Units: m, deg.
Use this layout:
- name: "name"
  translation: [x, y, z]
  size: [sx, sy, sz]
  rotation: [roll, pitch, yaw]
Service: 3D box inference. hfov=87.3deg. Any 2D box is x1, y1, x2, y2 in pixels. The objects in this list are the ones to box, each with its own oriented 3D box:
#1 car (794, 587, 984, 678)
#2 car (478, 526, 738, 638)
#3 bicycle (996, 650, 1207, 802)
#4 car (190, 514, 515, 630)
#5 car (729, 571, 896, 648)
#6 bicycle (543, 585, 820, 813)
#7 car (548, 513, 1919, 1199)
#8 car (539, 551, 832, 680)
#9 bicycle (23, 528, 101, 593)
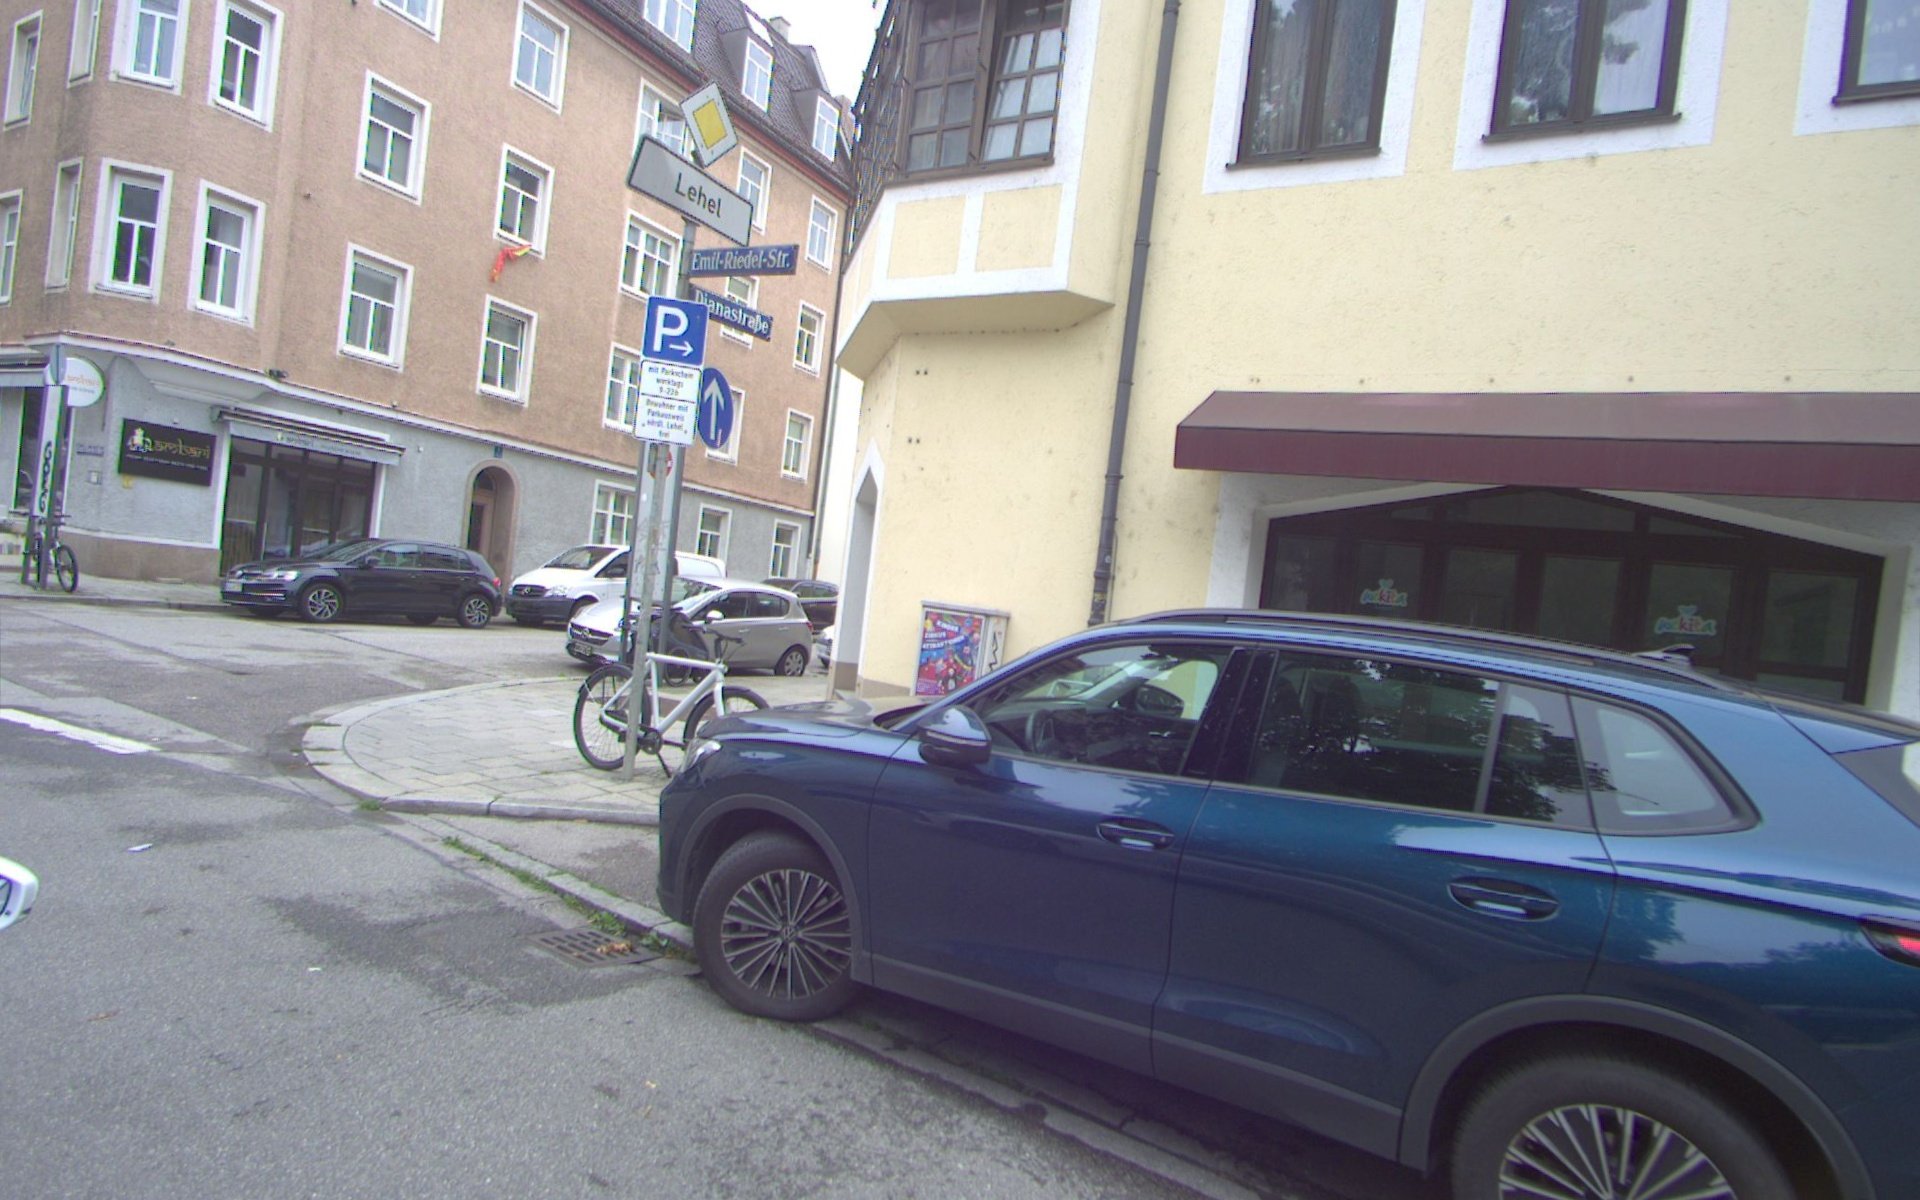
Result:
- name: "car"
  translation: [-1.306, 0.702, 19.930]
  size: [1.717, 1.394, 3.812]
  rotation: [9, 1, 32]
- name: "car"
  translation: [-7.422, -0.301, 21.860]
  size: [2.064, 1.876, 5.136]
  rotation: [5, -1, 29]
- name: "bicycle"
  translation: [1.152, 1.021, 8.414]
  size: [1.656, 0.989, 0.271]
  rotation: [7, 0, 30]
- name: "car"
  translation: [-9.918, -0.386, 16.772]
  size: [1.893, 1.446, 4.177]
  rotation: [5, -1, 29]
- name: "car"
  translation: [-3.960, 0.328, 27.867]
  size: [2.064, 1.707, 4.616]
  rotation: [5, -1, 29]
- name: "bicycle"
  translation: [-1.947, 0.618, 6.881]
  size: [1.963, 1.222, 0.514]
  rotation: [7, 0, 32]
- name: "car"
  translation: [0.746, 0.762, 3.729]
  size: [4.435, 1.701, 1.820]
  rotation: [7, 1, 31]
- name: "car"
  translation: [-3.943, 0.319, 15.137]
  size: [1.717, 1.475, 4.042]
  rotation: [9, 1, 32]
- name: "bicycle"
  translation: [-13.394, -0.589, 14.994]
  size: [1.304, 0.815, 0.457]
  rotation: [7, 0, 32]
